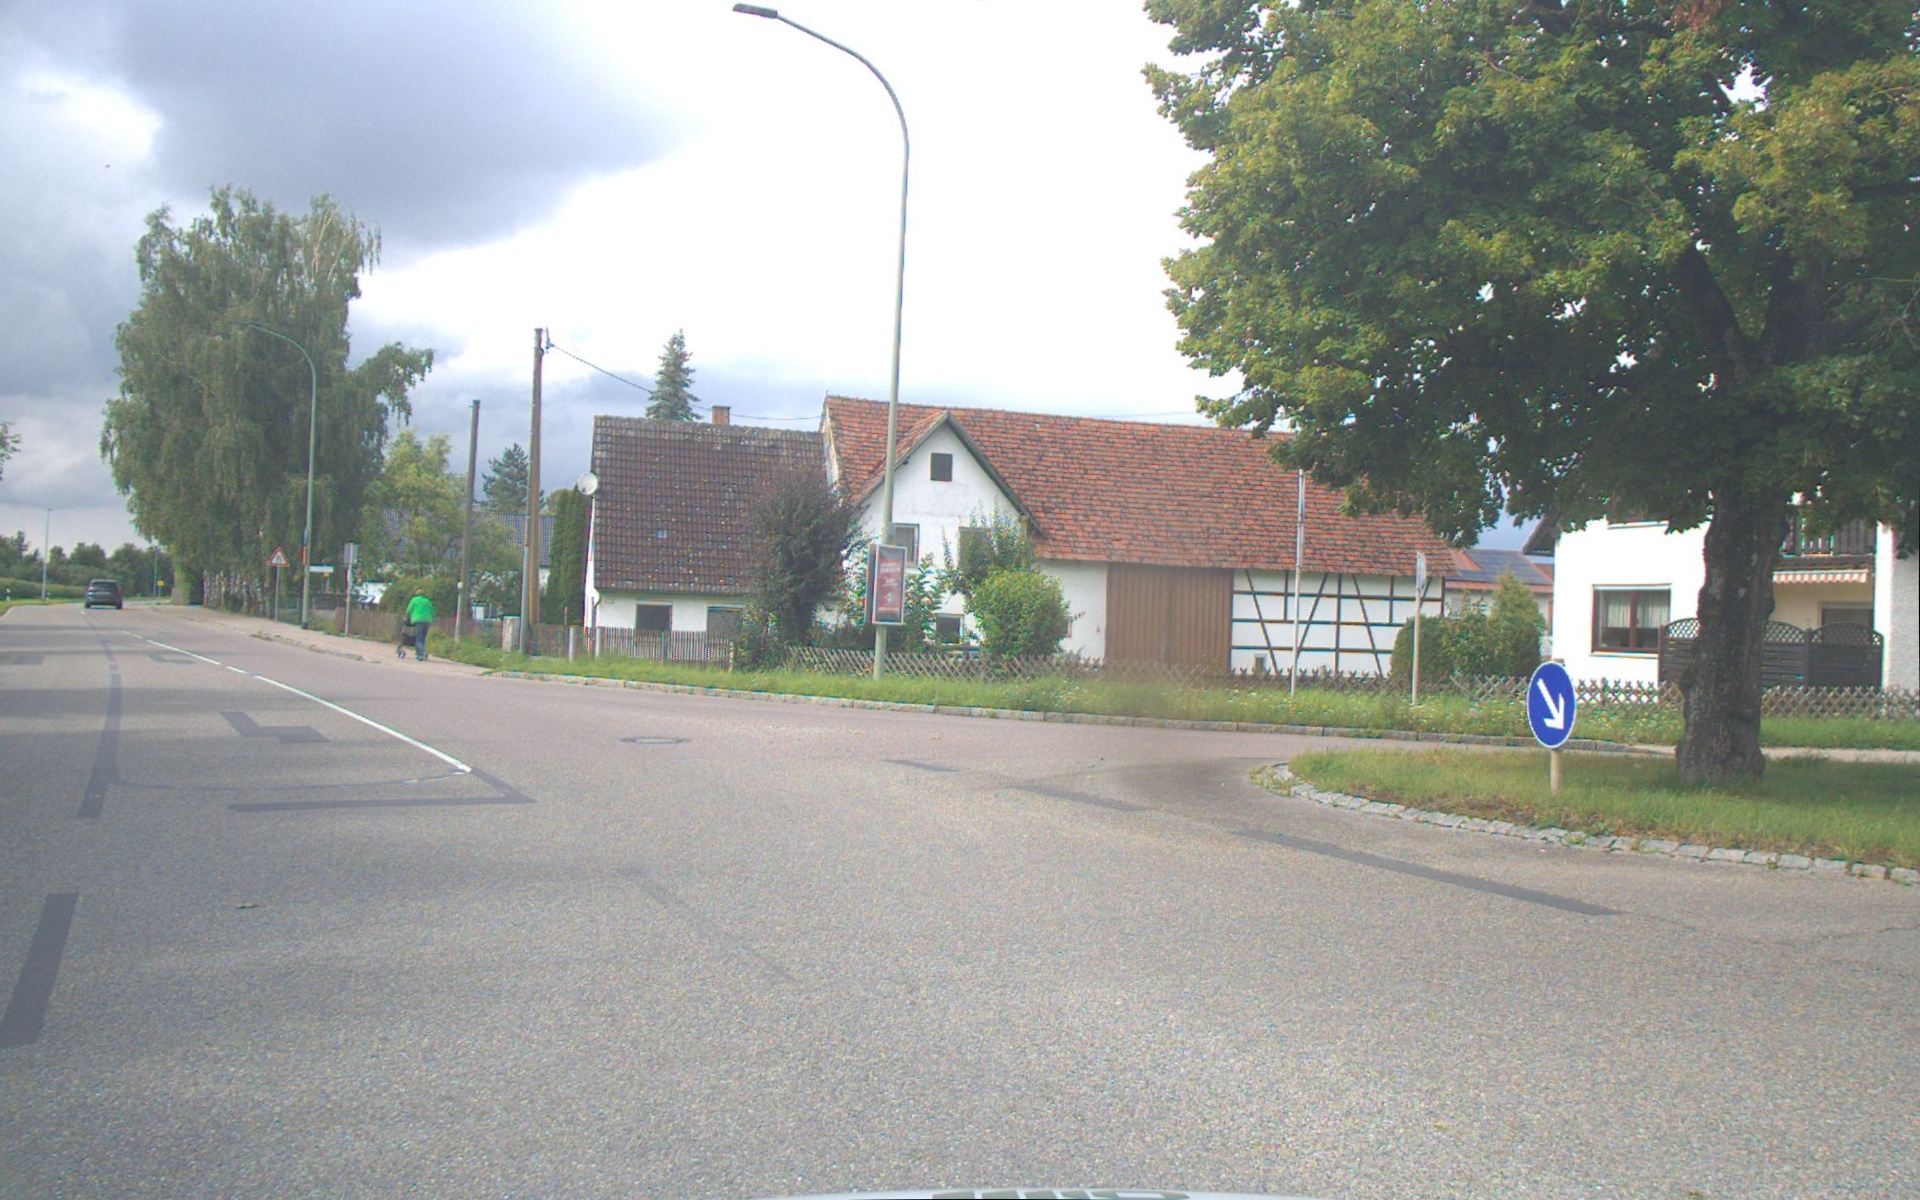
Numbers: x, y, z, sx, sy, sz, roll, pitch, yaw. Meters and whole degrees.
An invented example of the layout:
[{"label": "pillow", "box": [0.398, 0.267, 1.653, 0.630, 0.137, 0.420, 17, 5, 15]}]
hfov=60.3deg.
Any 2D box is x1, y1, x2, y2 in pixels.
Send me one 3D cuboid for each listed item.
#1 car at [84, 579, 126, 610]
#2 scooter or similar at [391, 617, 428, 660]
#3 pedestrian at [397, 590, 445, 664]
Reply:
[{"label": "car", "box": [-47.318, -0.296, 91.573, 1.970, 1.579, 3.965, 3, -1, -27]}, {"label": "scooter or similar", "box": [-13.404, 0.931, 40.282, 0.625, 0.964, 0.615, 7, -3, -33]}, {"label": "pedestrian", "box": [-12.946, 0.642, 39.726, 0.781, 1.694, 0.704, 7, -4, -33]}]
